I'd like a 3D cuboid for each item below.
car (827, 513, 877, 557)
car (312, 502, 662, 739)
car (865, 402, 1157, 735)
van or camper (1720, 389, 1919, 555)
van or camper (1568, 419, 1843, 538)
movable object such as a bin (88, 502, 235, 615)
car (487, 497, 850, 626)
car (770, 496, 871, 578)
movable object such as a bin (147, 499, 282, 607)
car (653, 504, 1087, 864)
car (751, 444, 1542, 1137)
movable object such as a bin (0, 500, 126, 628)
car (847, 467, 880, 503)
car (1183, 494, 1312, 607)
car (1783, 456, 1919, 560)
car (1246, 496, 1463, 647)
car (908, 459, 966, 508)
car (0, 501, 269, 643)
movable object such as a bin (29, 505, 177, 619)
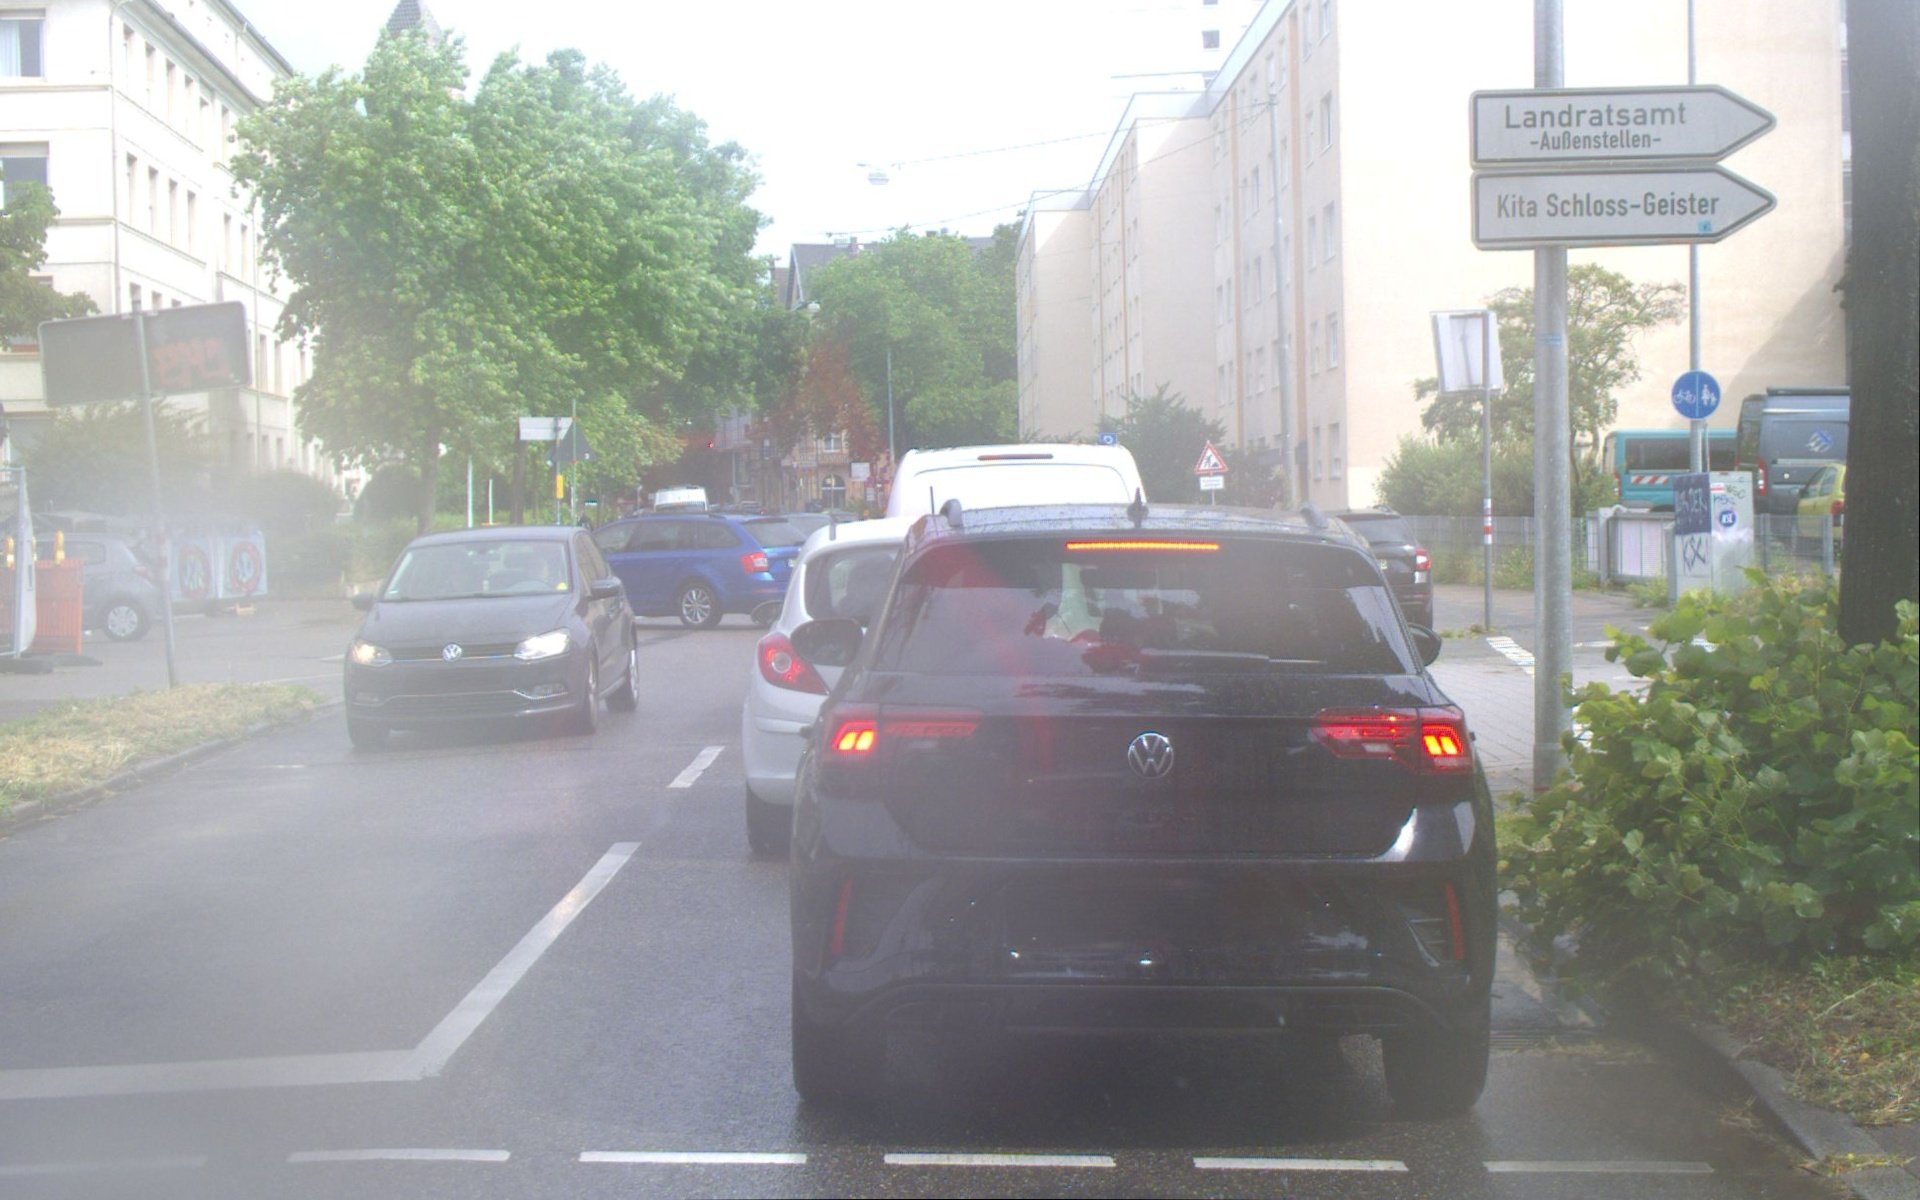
[{"bbox_3d":[-4.267,-2.598,136.492,1.740,1.602,3.675,-3,2,1],"label":"car"},{"bbox_3d":[-3.247,0.107,24.325,1.813,1.535,3.982,0,1,2],"label":"car"},{"bbox_3d":[0.379,-0.227,23.910,1.836,2.095,4.000,1,1,2],"label":"car"},{"bbox_3d":[14.856,-2.035,54.775,4.998,2.545,2.175,-1,1,1],"label":"van or camper"},{"bbox_3d":[14.063,-2.303,65.091,4.760,2.124,2.321,-1,2,4],"label":"van or camper"},{"bbox_3d":[-12.509,-0.660,53.917,1.539,1.668,1.664,-1,2,19],"label":"movable object such as a bin"},{"bbox_3d":[-3.758,-0.477,44.062,4.441,1.579,1.818,0,0,33],"label":"car"},{"bbox_3d":[-2.922,-1.350,72.831,1.841,1.602,4.000,-3,2,1],"label":"car"},{"bbox_3d":[-12.010,-0.758,55.430,1.539,1.656,1.457,-1,2,19],"label":"movable object such as a bin"},{"bbox_3d":[-0.389,0.327,16.506,1.813,1.498,4.000,1,1,0],"label":"car"},{"bbox_3d":[0.430,0.423,10.243,1.873,1.640,4.062,1,1,0],"label":"car"},{"bbox_3d":[-13.386,-0.533,50.818,1.539,1.818,1.262,-1,2,19],"label":"movable object such as a bin"},{"bbox_3d":[-5.123,-6.065,181.950,1.665,1.831,4.001,-2,2,-2],"label":"car"},{"bbox_3d":[4.232,-0.704,51.014,1.757,1.522,3.999,2,0,3],"label":"car"},{"bbox_3d":[13.411,-1.377,51.037,1.610,1.444,3.417,-2,2,2],"label":"car"},{"bbox_3d":[4.469,-0.370,39.520,1.774,1.534,4.379,-4,2,-2],"label":"car"},{"bbox_3d":[-0.777,-4.027,118.961,1.841,1.602,3.675,-3,2,1],"label":"car"},{"bbox_3d":[-11.446,-0.348,46.341,3.986,1.631,1.896,-4,0,-9],"label":"car"},{"bbox_3d":[-13.039,-0.582,52.358,1.539,1.650,1.526,-1,2,19],"label":"movable object such as a bin"}]
